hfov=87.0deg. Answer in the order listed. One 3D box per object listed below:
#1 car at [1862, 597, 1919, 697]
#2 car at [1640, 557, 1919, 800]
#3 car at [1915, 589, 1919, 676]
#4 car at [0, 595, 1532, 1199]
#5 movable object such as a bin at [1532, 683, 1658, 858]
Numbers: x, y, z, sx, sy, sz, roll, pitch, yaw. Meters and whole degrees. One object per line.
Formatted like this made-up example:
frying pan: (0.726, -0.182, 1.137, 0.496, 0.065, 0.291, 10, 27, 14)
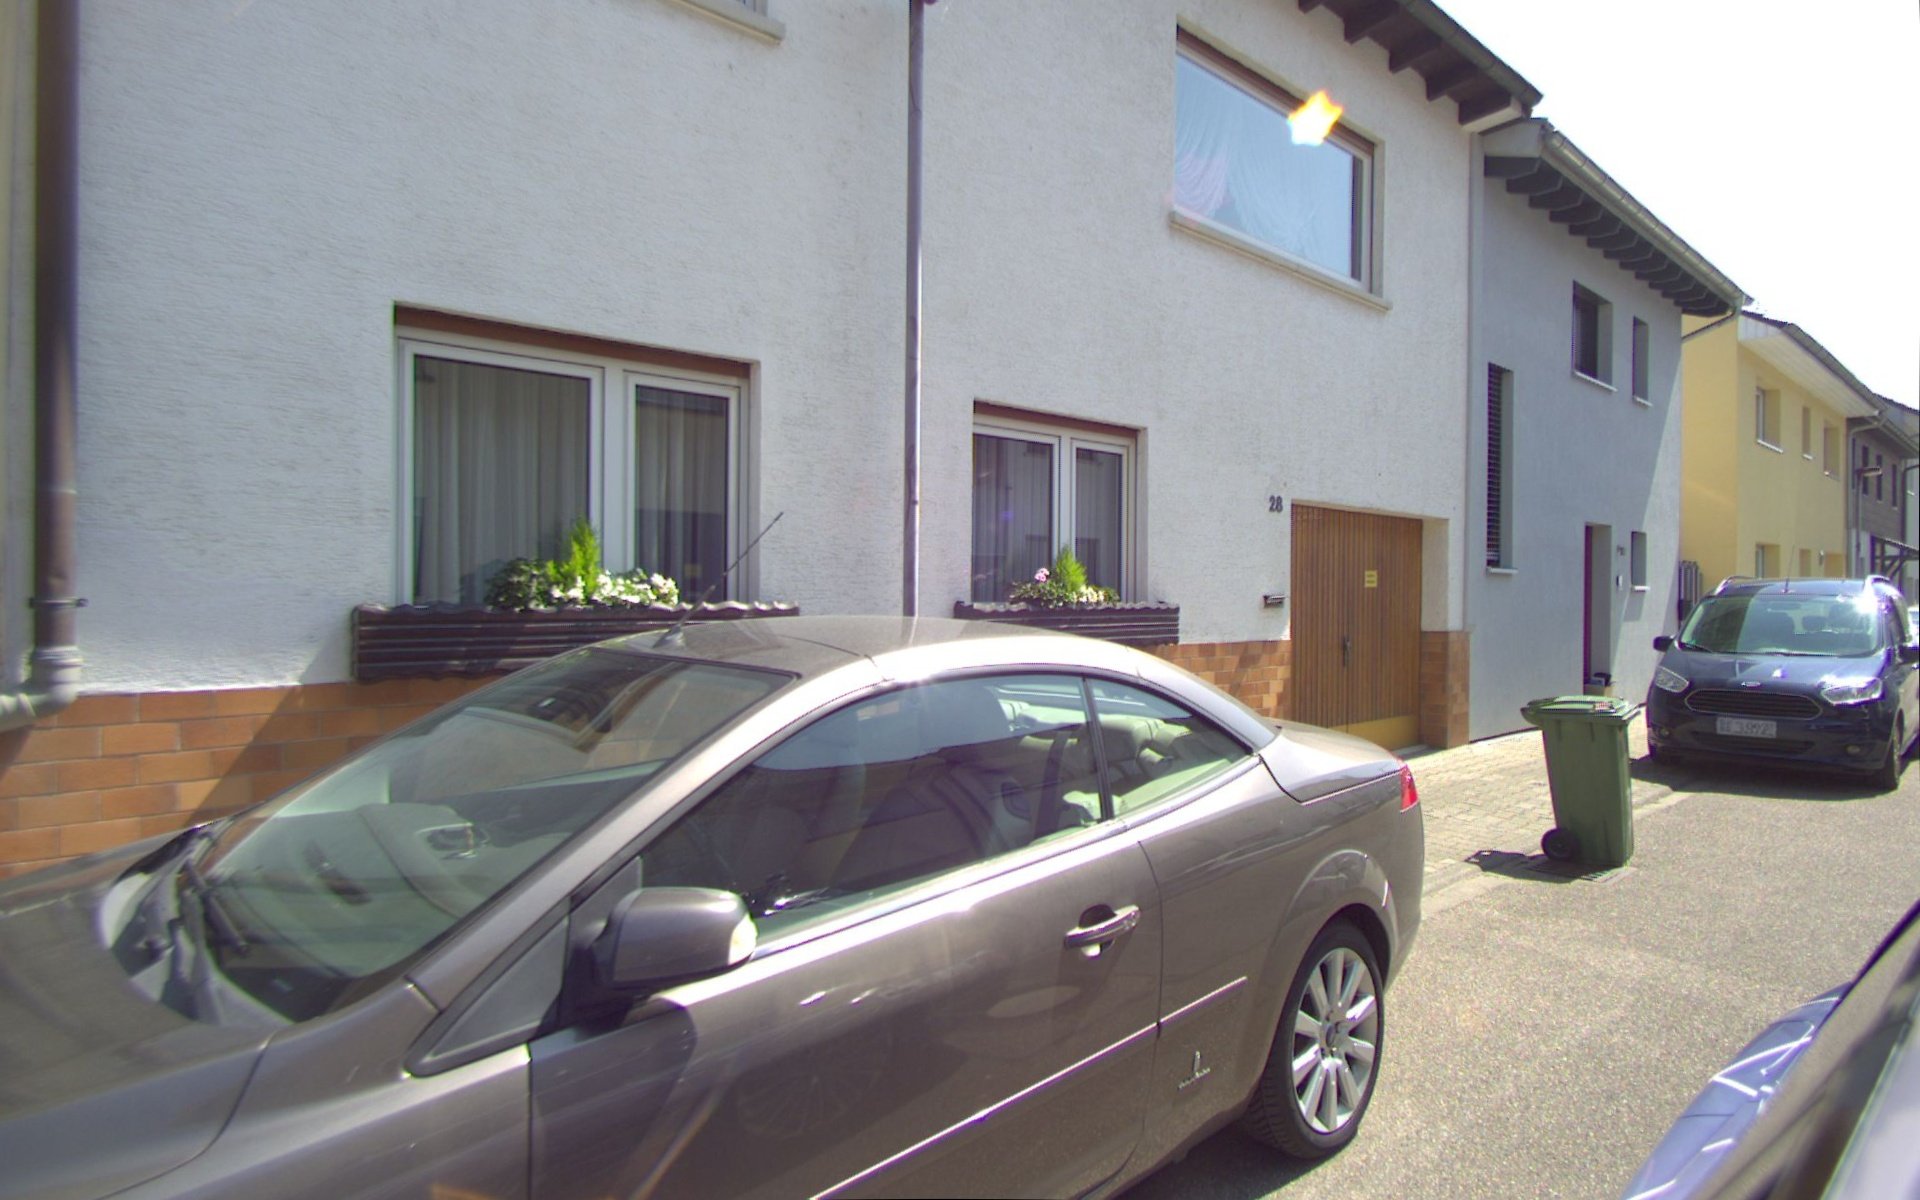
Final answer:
car: (15.780, 0.701, 16.060, 4.174, 1.432, 1.665, 0, 2, -41)
car: (8.000, 0.523, 9.509, 4.127, 1.799, 1.699, -2, 2, -42)
car: (19.686, 0.599, 19.452, 3.895, 1.604, 1.681, 0, 1, -43)
car: (-0.435, 0.724, 2.454, 4.026, 1.453, 1.701, 0, 0, -37)
movable object such as a bin: (3.805, 0.986, 6.061, 0.549, 0.903, 0.570, 0, 1, 43)
